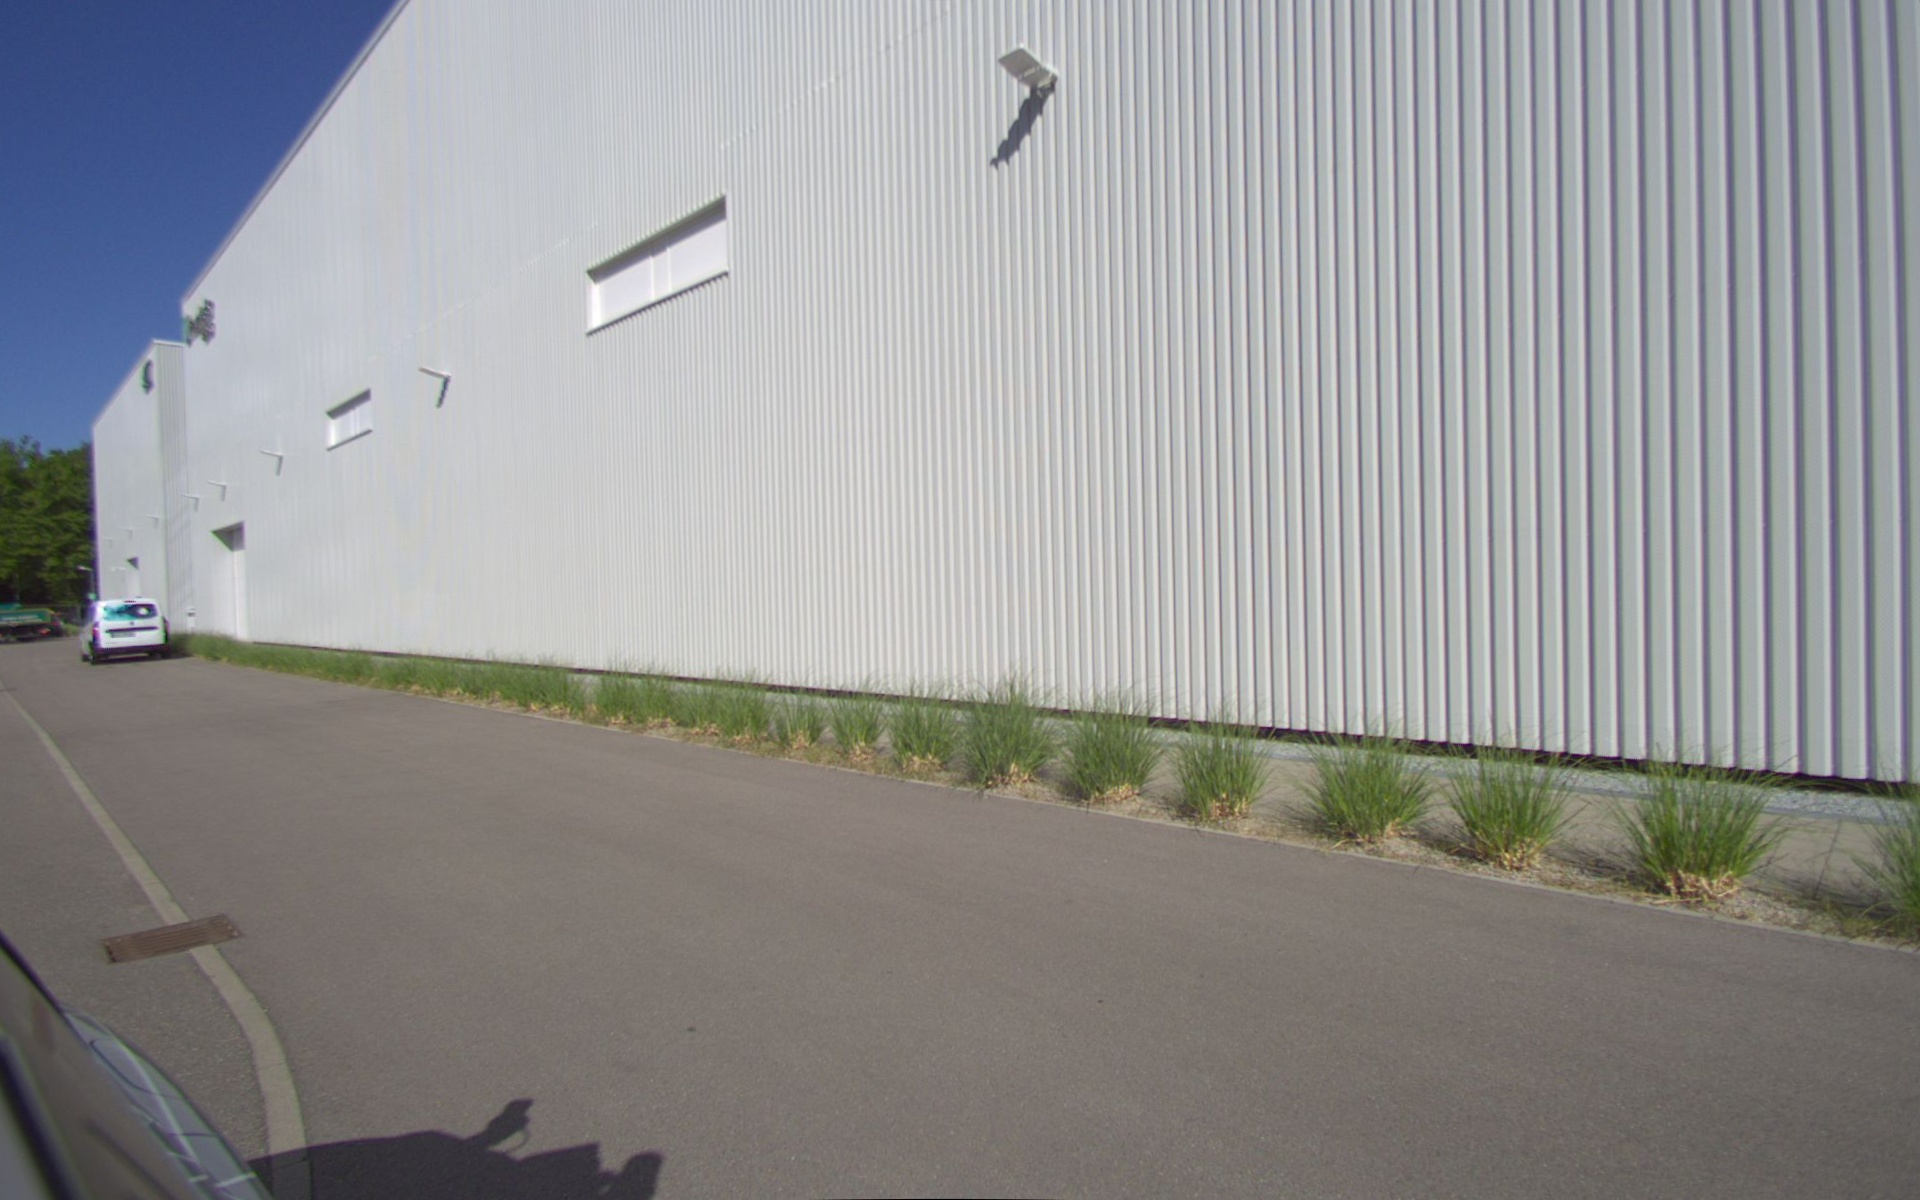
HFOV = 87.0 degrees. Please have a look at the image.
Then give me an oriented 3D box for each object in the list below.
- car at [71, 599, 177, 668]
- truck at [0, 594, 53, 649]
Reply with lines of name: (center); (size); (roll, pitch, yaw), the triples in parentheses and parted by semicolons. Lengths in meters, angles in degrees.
car: (-24.655, 0.949, 29.793); (4.600, 1.803, 1.907); (-1, 1, 45)
truck: (-52.819, 1.252, 55.024); (9.664, 2.737, 2.562); (-2, 2, 33)
